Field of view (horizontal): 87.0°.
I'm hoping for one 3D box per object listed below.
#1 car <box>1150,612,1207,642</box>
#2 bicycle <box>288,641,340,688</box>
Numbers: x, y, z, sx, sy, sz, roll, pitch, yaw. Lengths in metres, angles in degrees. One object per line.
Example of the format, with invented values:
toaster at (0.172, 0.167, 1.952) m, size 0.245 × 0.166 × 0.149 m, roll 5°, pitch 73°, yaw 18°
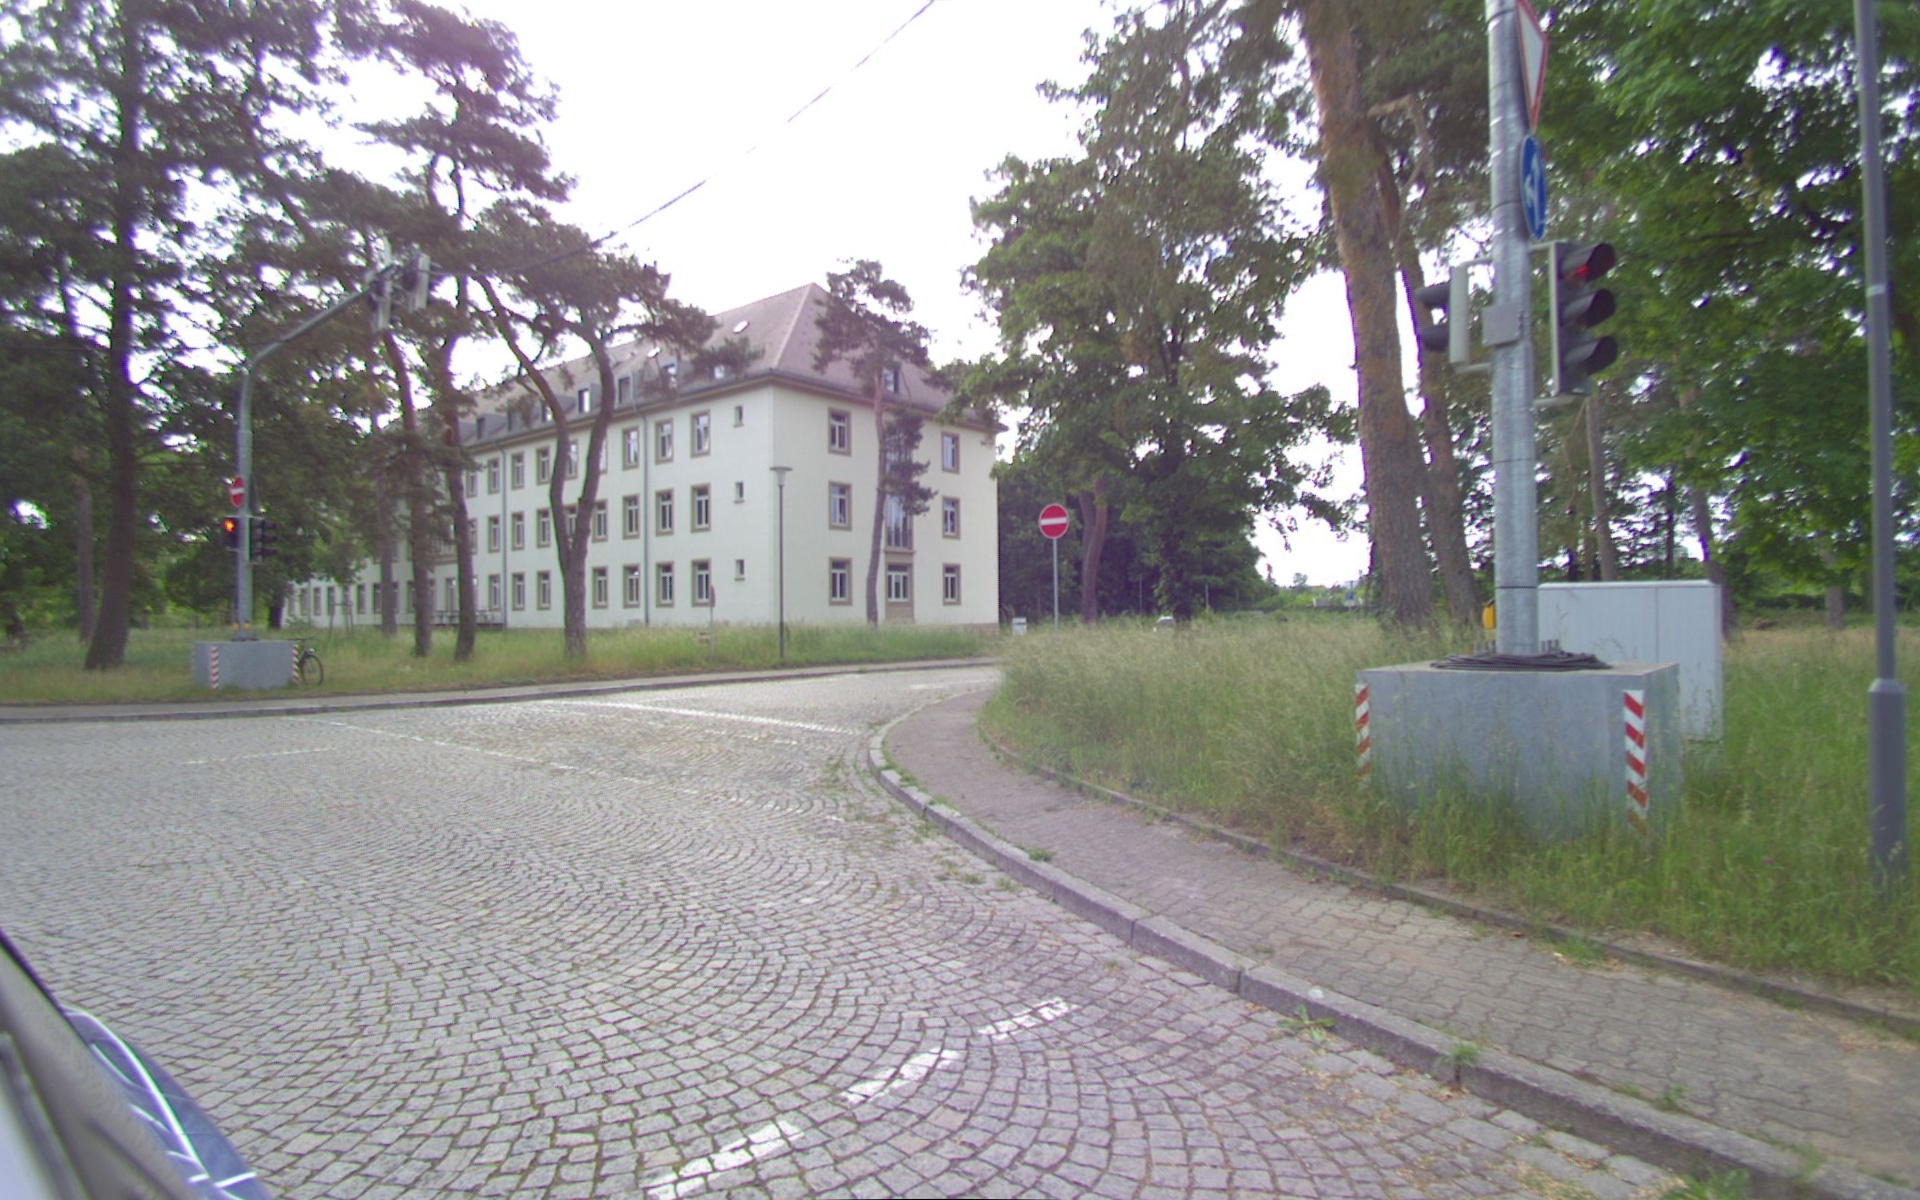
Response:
car at (13.574, 1.652, 62.804) m, size 1.722 × 1.820 × 3.944 m, roll -2°, pitch -2°, yaw 42°
bicycle at (-13.063, 1.298, 20.469) m, size 1.045 × 0.923 × 0.292 m, roll -1°, pitch -1°, yaw 18°
